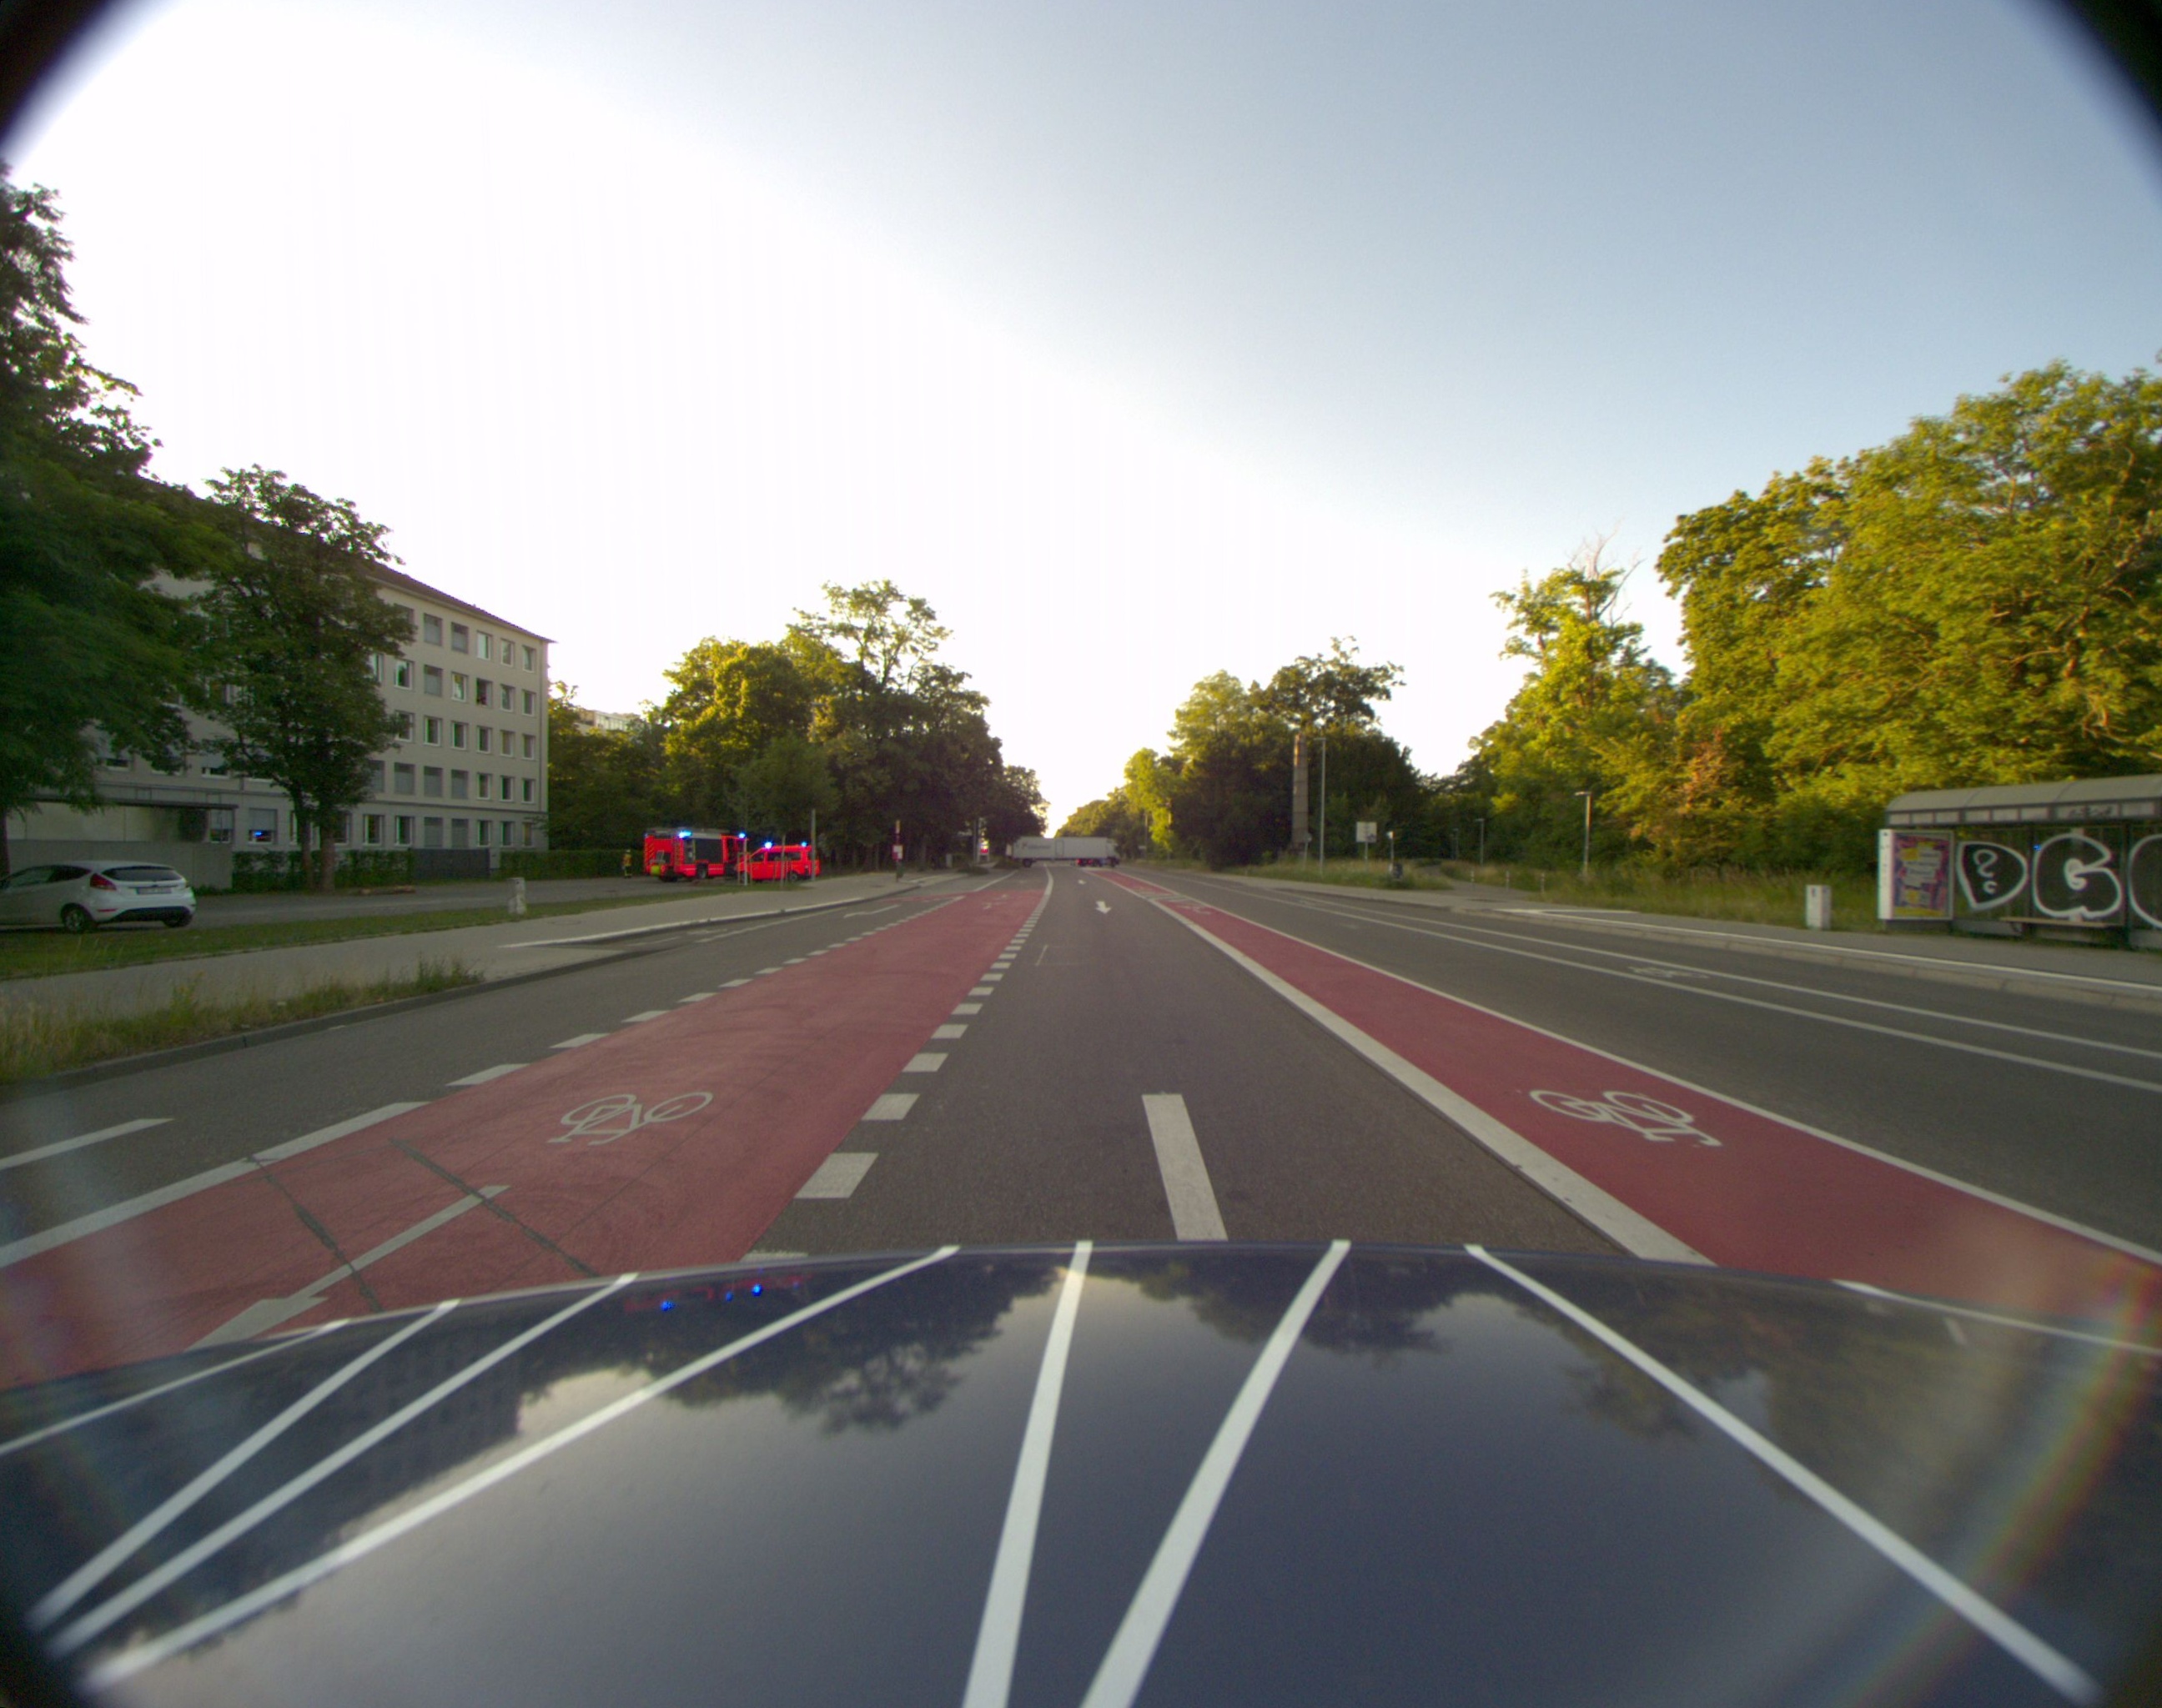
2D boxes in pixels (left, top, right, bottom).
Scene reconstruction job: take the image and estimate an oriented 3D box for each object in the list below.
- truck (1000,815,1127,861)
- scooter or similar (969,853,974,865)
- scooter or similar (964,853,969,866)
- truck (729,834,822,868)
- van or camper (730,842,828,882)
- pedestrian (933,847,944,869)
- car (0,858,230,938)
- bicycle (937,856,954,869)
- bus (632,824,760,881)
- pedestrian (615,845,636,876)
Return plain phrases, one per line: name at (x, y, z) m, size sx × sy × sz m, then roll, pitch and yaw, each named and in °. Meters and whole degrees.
truck at (-2.203, -1.928, 95.754) m, size 15.097 × 5.542 × 5.151 m, roll 0°, pitch 1°, yaw -18°
scooter or similar at (-11.959, 0.581, 83.158) m, size 0.483 × 1.274 × 1.139 m, roll 2°, pitch 0°, yaw -8°
scooter or similar at (-12.208, 0.580, 81.218) m, size 0.483 × 1.274 × 1.230 m, roll 2°, pitch 0°, yaw -8°
truck at (-29.826, -0.266, 74.156) m, size 8.645 × 3.192 × 2.765 m, roll 0°, pitch 0°, yaw 17°
van or camper at (-17.720, 0.449, 44.760) m, size 4.823 × 2.232 × 2.296 m, roll -1°, pitch 1°, yaw 6°
pedestrian at (-12.880, 0.335, 68.719) m, size 0.726 × 2.002 × 0.693 m, roll 0°, pitch 1°, yaw -31°
car at (-20.956, 0.894, 16.025) m, size 3.996 × 1.528 × 1.912 m, roll -1°, pitch 1°, yaw 4°
bicycle at (-12.344, 0.781, 69.232) m, size 0.834 × 1.091 × 1.963 m, roll 0°, pitch 1°, yaw -33°
bus at (-23.639, -0.126, 47.265) m, size 2.993 × 3.177 × 7.968 m, roll -1°, pitch 1°, yaw 8°
pedestrian at (-29.665, 0.399, 49.502) m, size 0.772 × 2.002 × 0.826 m, roll 0°, pitch 1°, yaw 9°
